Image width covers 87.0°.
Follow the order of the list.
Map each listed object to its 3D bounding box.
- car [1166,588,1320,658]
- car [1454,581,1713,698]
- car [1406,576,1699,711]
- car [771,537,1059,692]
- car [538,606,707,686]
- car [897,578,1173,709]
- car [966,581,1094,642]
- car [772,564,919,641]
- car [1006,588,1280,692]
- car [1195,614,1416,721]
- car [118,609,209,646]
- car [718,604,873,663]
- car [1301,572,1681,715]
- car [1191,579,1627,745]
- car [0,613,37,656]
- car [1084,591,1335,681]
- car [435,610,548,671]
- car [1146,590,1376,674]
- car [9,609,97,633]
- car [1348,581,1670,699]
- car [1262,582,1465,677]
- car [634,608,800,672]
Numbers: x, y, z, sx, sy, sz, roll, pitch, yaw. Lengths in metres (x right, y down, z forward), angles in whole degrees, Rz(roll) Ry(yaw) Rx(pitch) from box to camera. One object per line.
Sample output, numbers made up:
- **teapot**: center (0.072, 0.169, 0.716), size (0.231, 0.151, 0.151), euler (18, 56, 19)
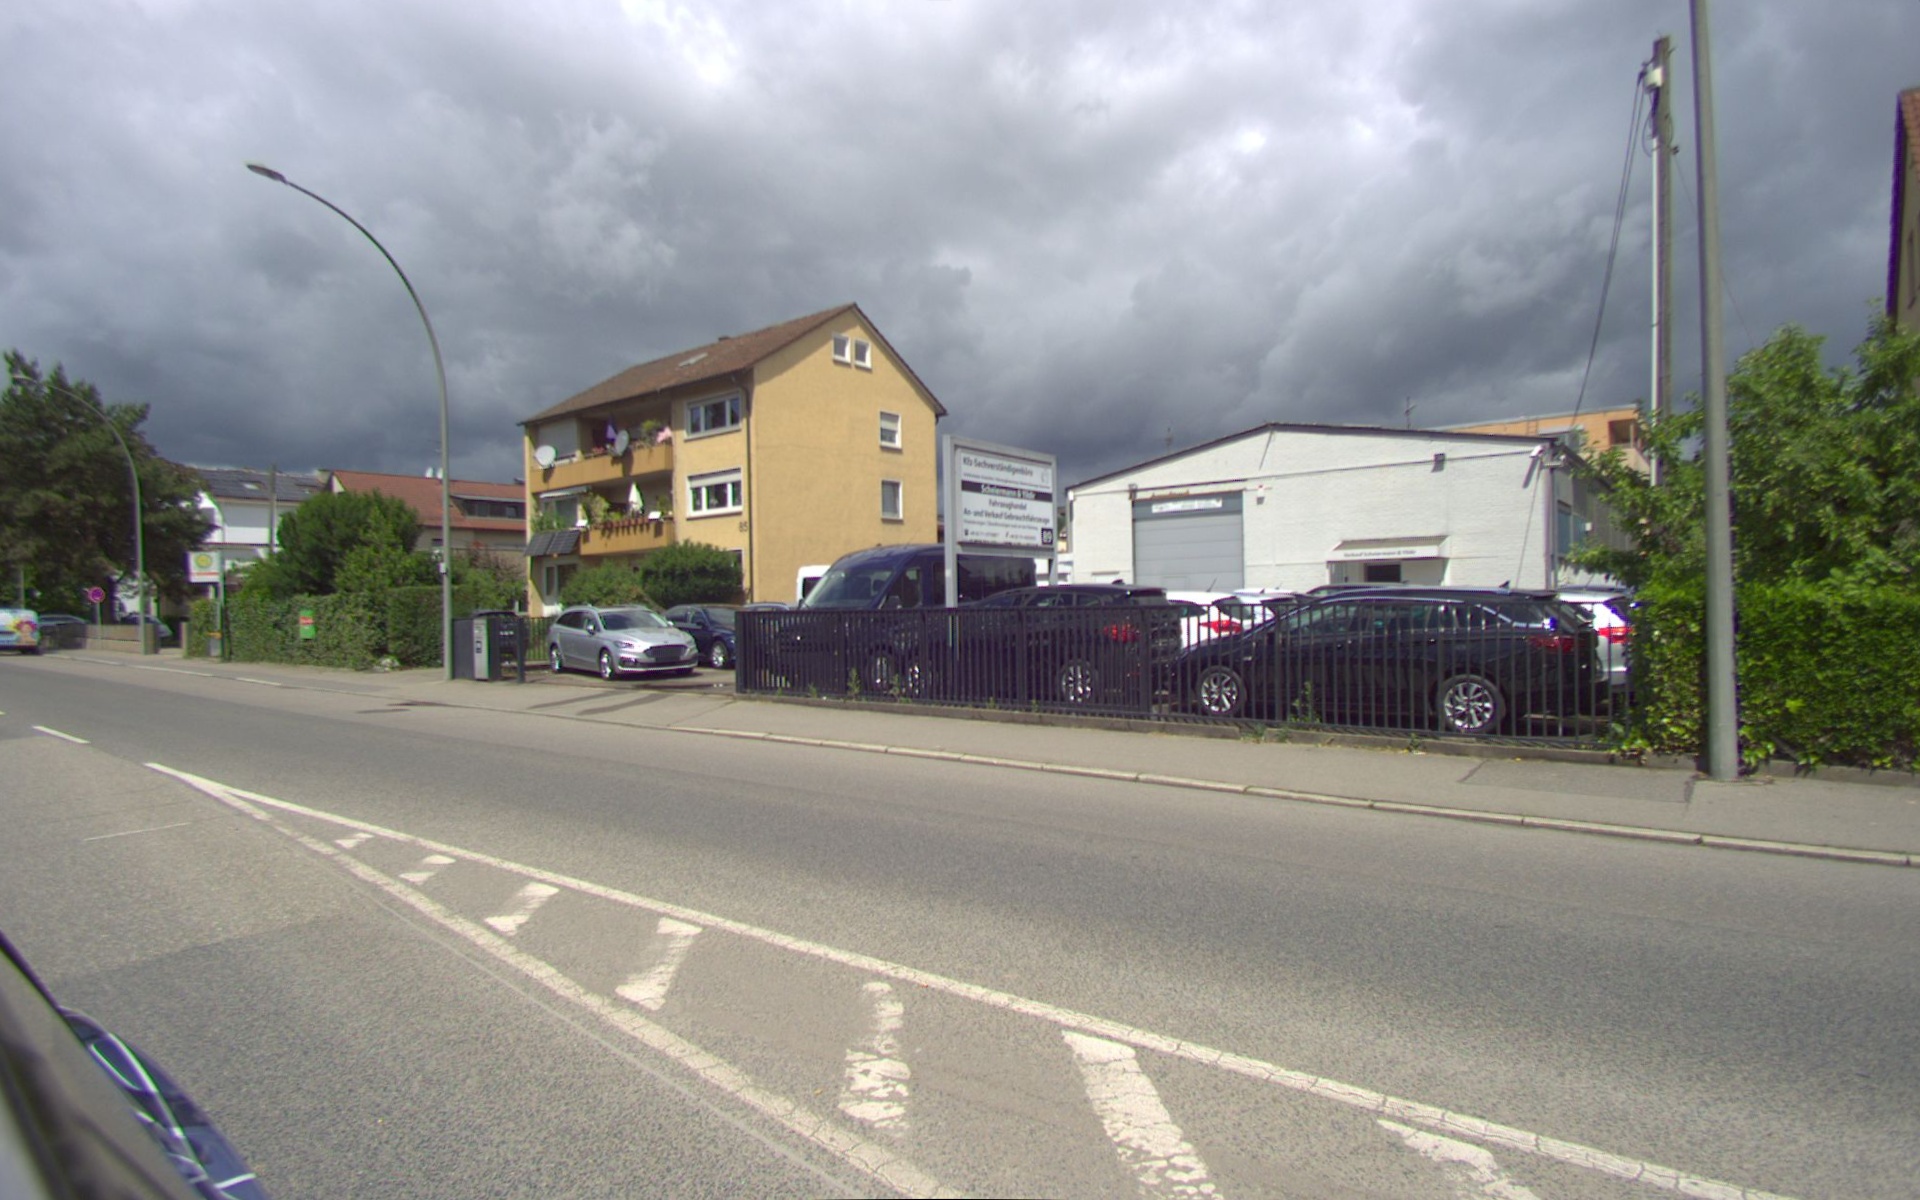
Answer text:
- **car**: center (8.456, 0.653, 30.425), size (3.998, 1.941, 1.973), euler (-1, 0, 41)
- **car**: center (11.966, 0.696, 19.539), size (3.998, 2.029, 1.973), euler (-1, 0, 41)
- **car**: center (10.011, 0.665, 17.237), size (3.998, 2.029, 1.973), euler (-1, 0, 41)
- **car**: center (-0.640, 0.217, 18.356), size (2.104, 2.402, 5.293), euler (-1, 0, 42)
- **car**: center (-7.277, 0.895, 21.571), size (1.861, 1.470, 4.356), euler (-2, 1, -41)
- **car**: center (1.006, 0.552, 14.532), size (3.619, 1.633, 1.790), euler (-1, 0, 41)
- **car**: center (2.370, 0.379, 34.625), size (3.998, 1.941, 1.973), euler (-1, 0, 41)
- **car**: center (-3.295, 0.075, 28.722), size (3.998, 2.029, 1.973), euler (-1, 0, 41)
- **car**: center (2.869, 0.574, 16.316), size (3.998, 1.470, 1.795), euler (-1, 0, 41)
- **car**: center (7.297, 1.329, 21.561), size (3.998, 2.029, 1.973), euler (-1, 0, 41)
- **car**: center (-46.365, 1.578, 58.939), size (3.954, 2.029, 1.995), euler (-1, 0, 9)
- **car**: center (-4.320, 0.829, 26.290), size (3.998, 1.383, 1.859), euler (-1, 0, 41)
- **car**: center (6.744, 0.482, 13.060), size (3.998, 1.552, 1.973), euler (-1, 0, 41)
- **car**: center (4.808, 0.568, 11.125), size (4.040, 1.494, 1.840), euler (-1, 0, 40)
- **car**: center (-39.277, 1.390, 41.362), size (3.995, 1.693, 1.708), euler (-1, 0, 39)
- **car**: center (4.353, 0.577, 17.990), size (3.998, 1.423, 1.716), euler (-1, 0, 41)
- **car**: center (-14.078, 1.159, 30.378), size (3.520, 1.678, 1.807), euler (-1, 0, 41)
- **car**: center (5.877, 0.582, 19.984), size (3.998, 1.498, 1.742), euler (-1, 0, 41)
- **car**: center (-68.432, 1.535, 76.415), size (2.216, 1.691, 4.676), euler (-1, 0, 39)
- **car**: center (8.284, 0.541, 15.445), size (3.998, 1.560, 1.973), euler (-1, 0, 41)
- **car**: center (9.385, 0.636, 23.699), size (3.998, 2.029, 1.973), euler (-1, 0, 41)
- **car**: center (-5.788, 0.891, 23.892), size (3.998, 1.352, 1.861), euler (-1, 0, 41)
